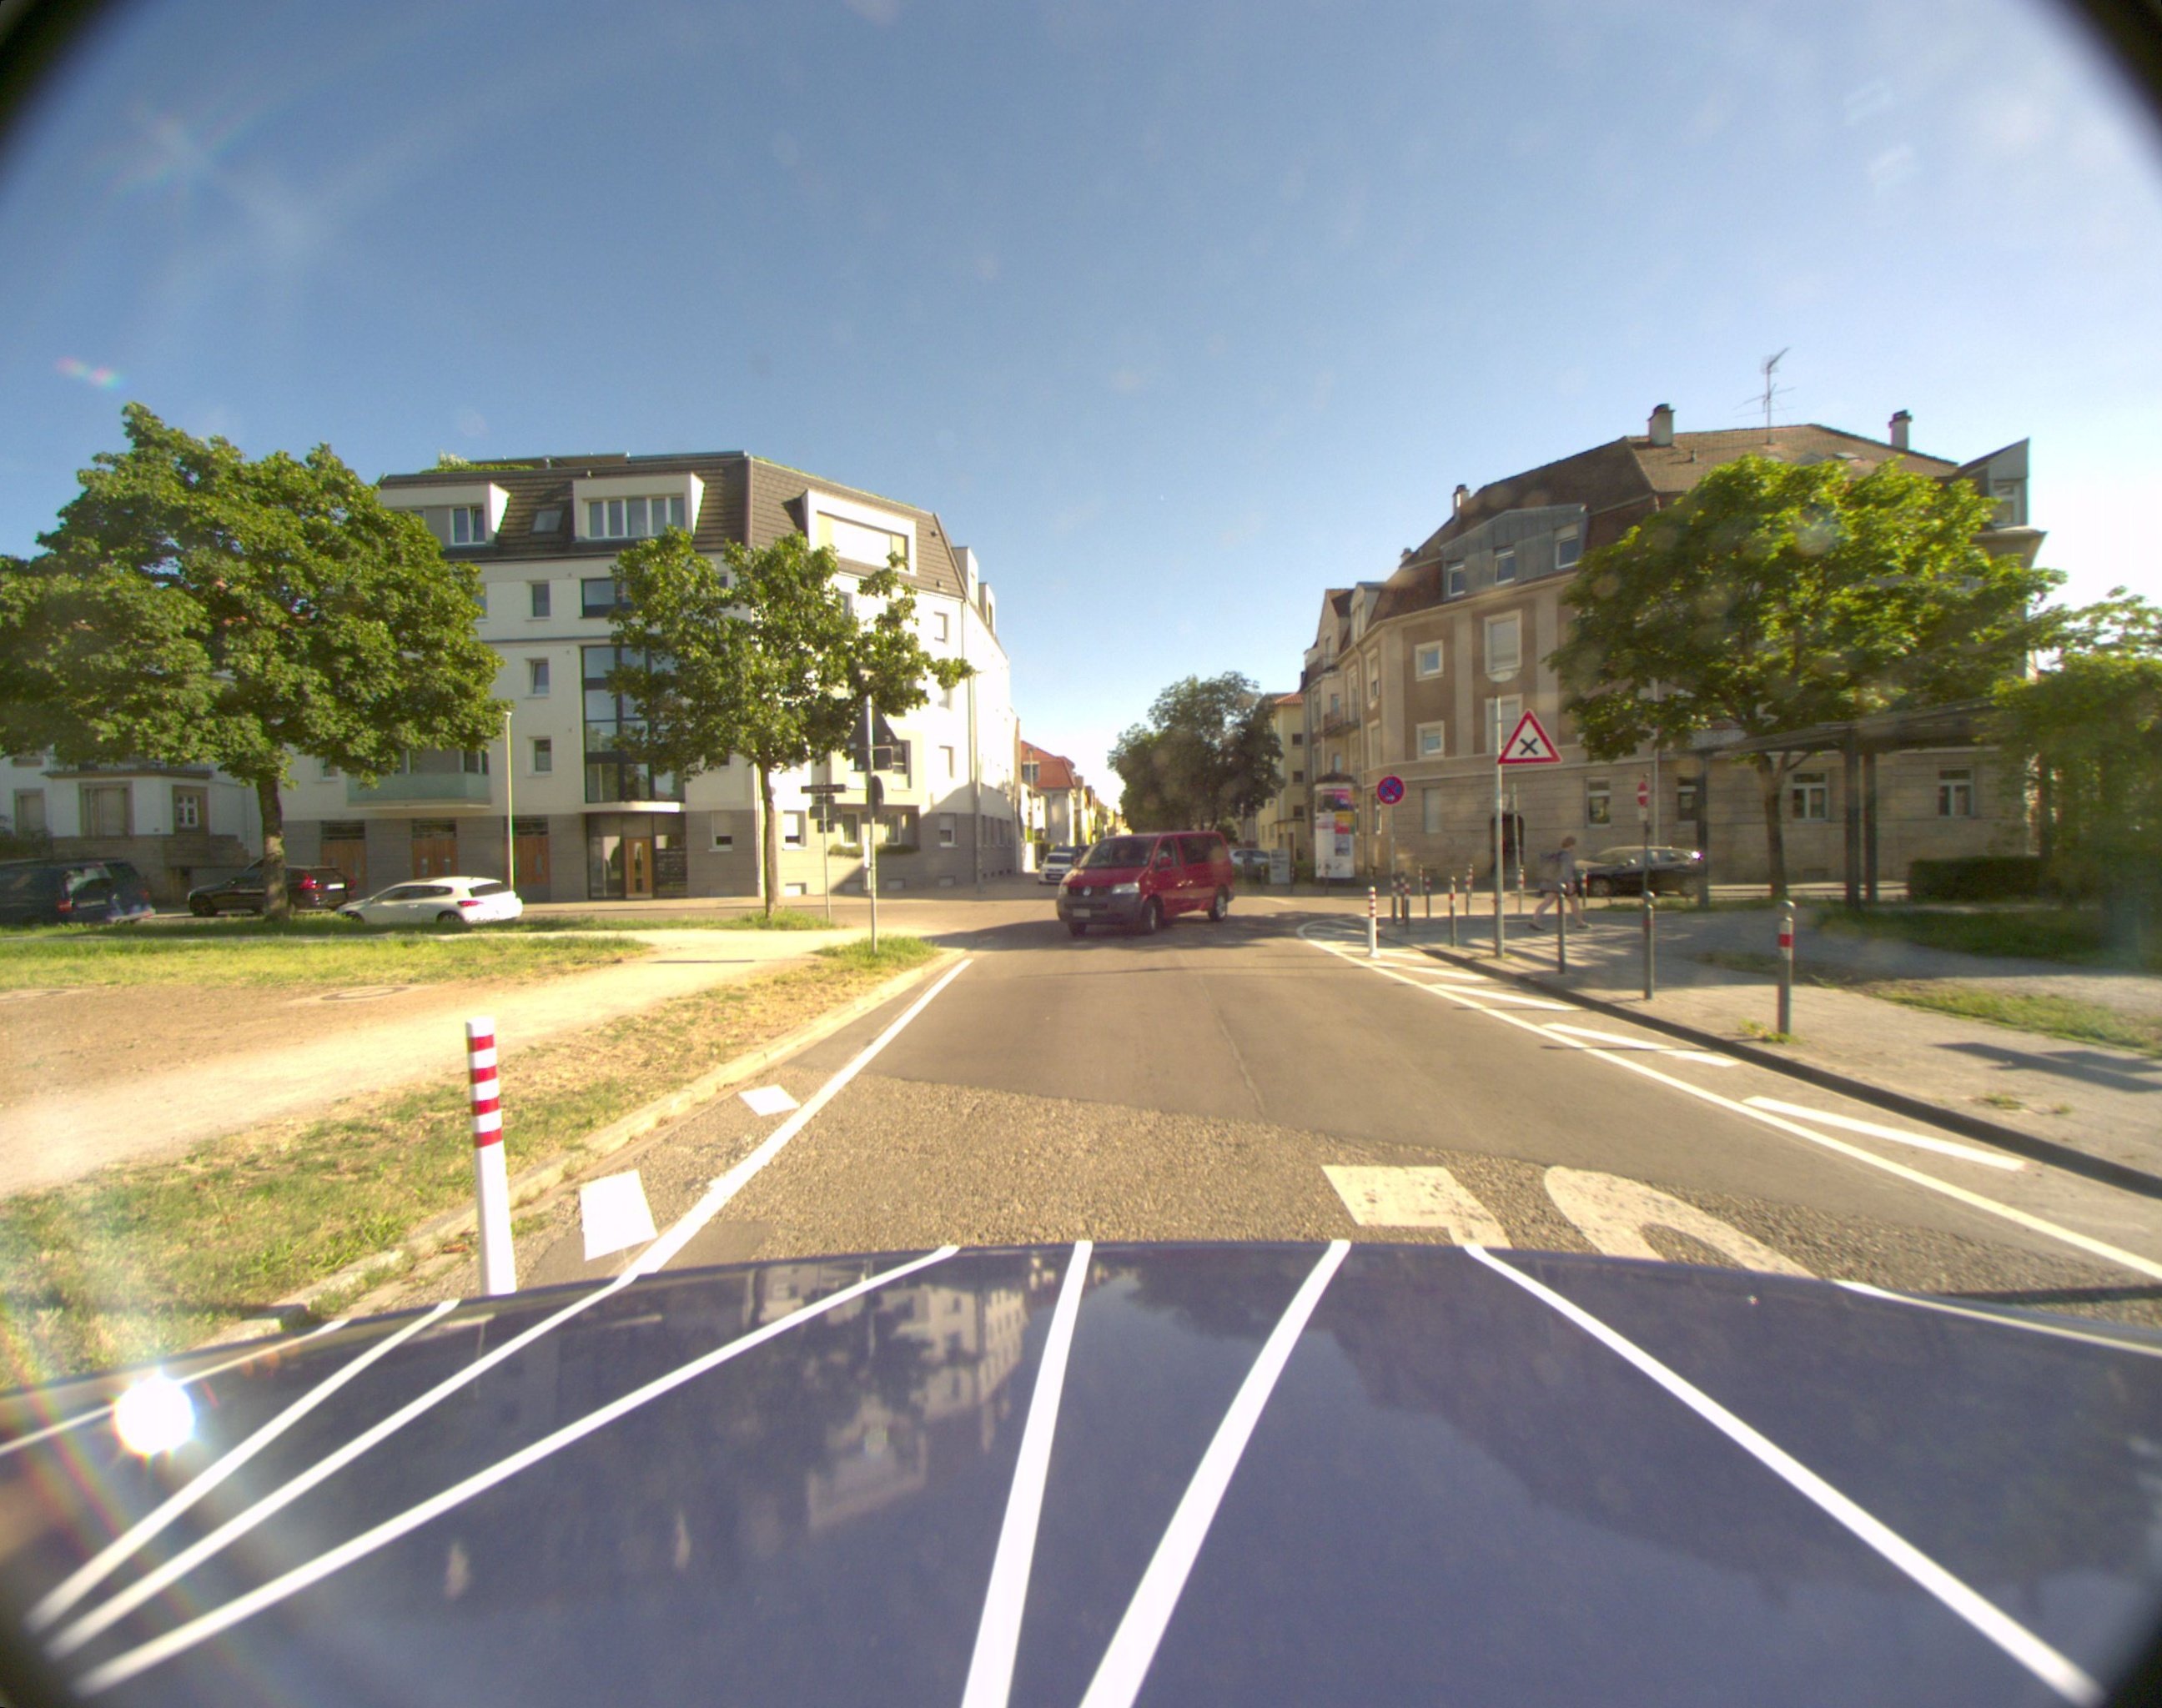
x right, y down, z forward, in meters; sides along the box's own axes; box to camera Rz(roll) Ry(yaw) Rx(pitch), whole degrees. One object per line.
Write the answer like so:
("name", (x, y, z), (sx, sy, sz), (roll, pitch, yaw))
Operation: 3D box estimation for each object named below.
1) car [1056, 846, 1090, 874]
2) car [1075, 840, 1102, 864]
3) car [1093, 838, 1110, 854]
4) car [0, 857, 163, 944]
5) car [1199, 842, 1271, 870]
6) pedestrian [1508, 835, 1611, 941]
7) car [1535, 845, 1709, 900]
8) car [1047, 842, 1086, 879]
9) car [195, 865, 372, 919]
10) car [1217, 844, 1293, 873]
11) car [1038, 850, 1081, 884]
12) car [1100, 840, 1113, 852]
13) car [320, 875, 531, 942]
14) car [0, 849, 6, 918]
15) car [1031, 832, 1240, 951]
("car", (-0.425, 0.343, 46.129), (1.664, 1.533, 4.066), (2, 1, 4))
("car", (0.646, -0.224, 62.478), (1.883, 1.861, 4.402), (2, 1, 4))
("car", (2.501, -0.987, 91.979), (1.883, 1.860, 4.402), (-1, 1, 4))
("car", (-27.551, 1.215, 20.273), (3.990, 2.073, 1.784), (-1, 4, 5))
("car", (8.831, 0.102, 43.885), (3.788, 1.486, 1.692), (-2, 1, 1))
("pedestrian", (8.130, 0.546, 12.944), (1.090, 1.665, 0.912), (-5, 2, -14))
("car", (16.675, 0.556, 23.569), (4.011, 1.476, 1.867), (-1, 4, 1))
("car", (-0.714, 0.308, 40.730), (1.664, 1.825, 4.257), (2, 1, 4))
("car", (-27.556, 1.290, 26.346), (4.284, 1.673, 1.896), (-1, 2, 5))
("car", (9.504, 0.235, 41.660), (3.788, 1.436, 1.692), (-2, 1, 1))
("car", (-0.958, 0.588, 36.275), (1.664, 1.440, 3.688), (2, 1, 4))
("car", (4.035, -1.282, 118.253), (1.883, 1.734, 4.402), (-1, 1, 4))
("car", (-16.969, 1.387, 19.796), (3.990, 1.426, 1.739), (-1, 5, 4))
("car", (-42.018, 1.150, 27.319), (3.990, 2.535, 2.023), (-1, 2, 5))
("car", (1.319, 0.585, 15.618), (1.891, 1.950, 4.895), (1, 3, 37))
